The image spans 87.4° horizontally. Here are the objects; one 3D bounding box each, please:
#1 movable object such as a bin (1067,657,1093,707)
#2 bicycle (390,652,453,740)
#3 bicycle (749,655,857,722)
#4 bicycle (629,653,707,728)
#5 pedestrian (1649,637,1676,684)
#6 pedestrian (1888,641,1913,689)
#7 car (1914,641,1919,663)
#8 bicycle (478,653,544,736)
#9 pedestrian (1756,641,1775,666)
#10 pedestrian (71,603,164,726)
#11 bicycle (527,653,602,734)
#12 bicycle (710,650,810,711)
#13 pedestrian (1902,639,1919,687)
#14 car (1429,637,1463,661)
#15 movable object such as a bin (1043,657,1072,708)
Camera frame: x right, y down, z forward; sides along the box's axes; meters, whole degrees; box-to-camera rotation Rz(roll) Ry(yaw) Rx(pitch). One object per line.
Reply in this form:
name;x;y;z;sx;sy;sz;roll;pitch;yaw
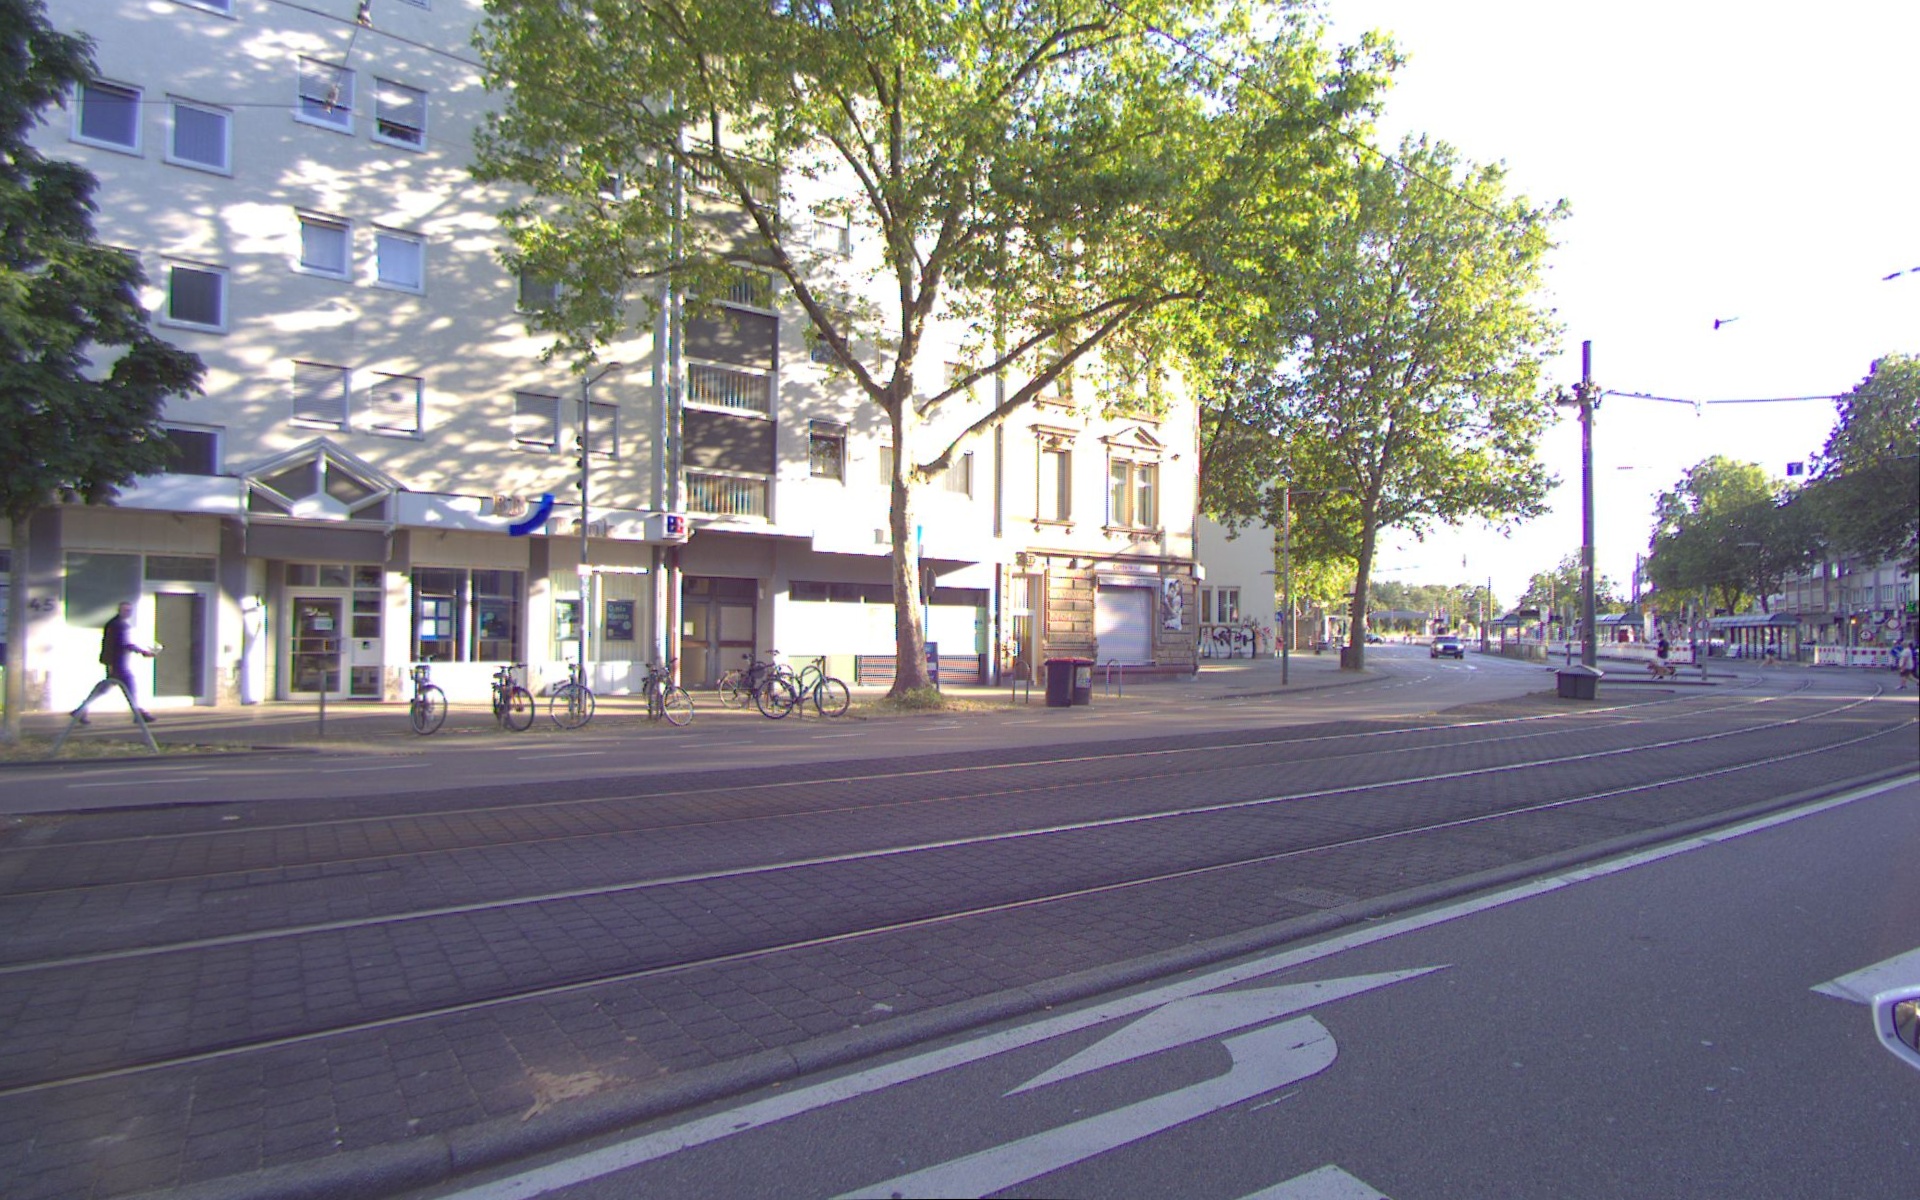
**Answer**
movable object such as a bin;2.719;1.852;22.843;0.562;1.108;0.477;0;-2;5
bicycle;-7.986;1.384;14.862;0.529;1.139;1.880;2;-1;-36
bicycle;-2.826;1.572;18.224;1.891;1.139;0.505;2;-1;-34
bicycle;-4.997;1.506;17.103;0.646;1.139;1.880;2;-1;-36
pedestrian;26.242;2.255;37.543;0.663;1.733;0.431;2;0;2
pedestrian;30.201;2.085;32.267;0.513;1.524;0.591;-1;-2;37
car;64.504;3.400;65.857;1.635;1.488;3.412;-3;-3;22
bicycle;-6.994;1.425;15.610;0.529;1.139;1.880;2;-1;-36
pedestrian;42.832;2.821;53.425;0.768;1.321;0.591;-1;-2;40
pedestrian;-12.820;0.961;15.314;0.959;1.811;0.615;2;0;-31
bicycle;-6.355;1.454;16.083;0.646;1.139;1.880;2;-1;-36
bicycle;-3.973;1.582;20.020;1.891;1.139;0.505;2;-1;-34
pedestrian;30.823;2.034;32.504;0.403;1.524;0.515;0;-2;37
car;32.753;3.292;67.792;1.856;1.492;4.205;0;-2;24
movable object such as a bin;2.152;1.812;22.225;0.634;1.108;0.546;0;-2;5
